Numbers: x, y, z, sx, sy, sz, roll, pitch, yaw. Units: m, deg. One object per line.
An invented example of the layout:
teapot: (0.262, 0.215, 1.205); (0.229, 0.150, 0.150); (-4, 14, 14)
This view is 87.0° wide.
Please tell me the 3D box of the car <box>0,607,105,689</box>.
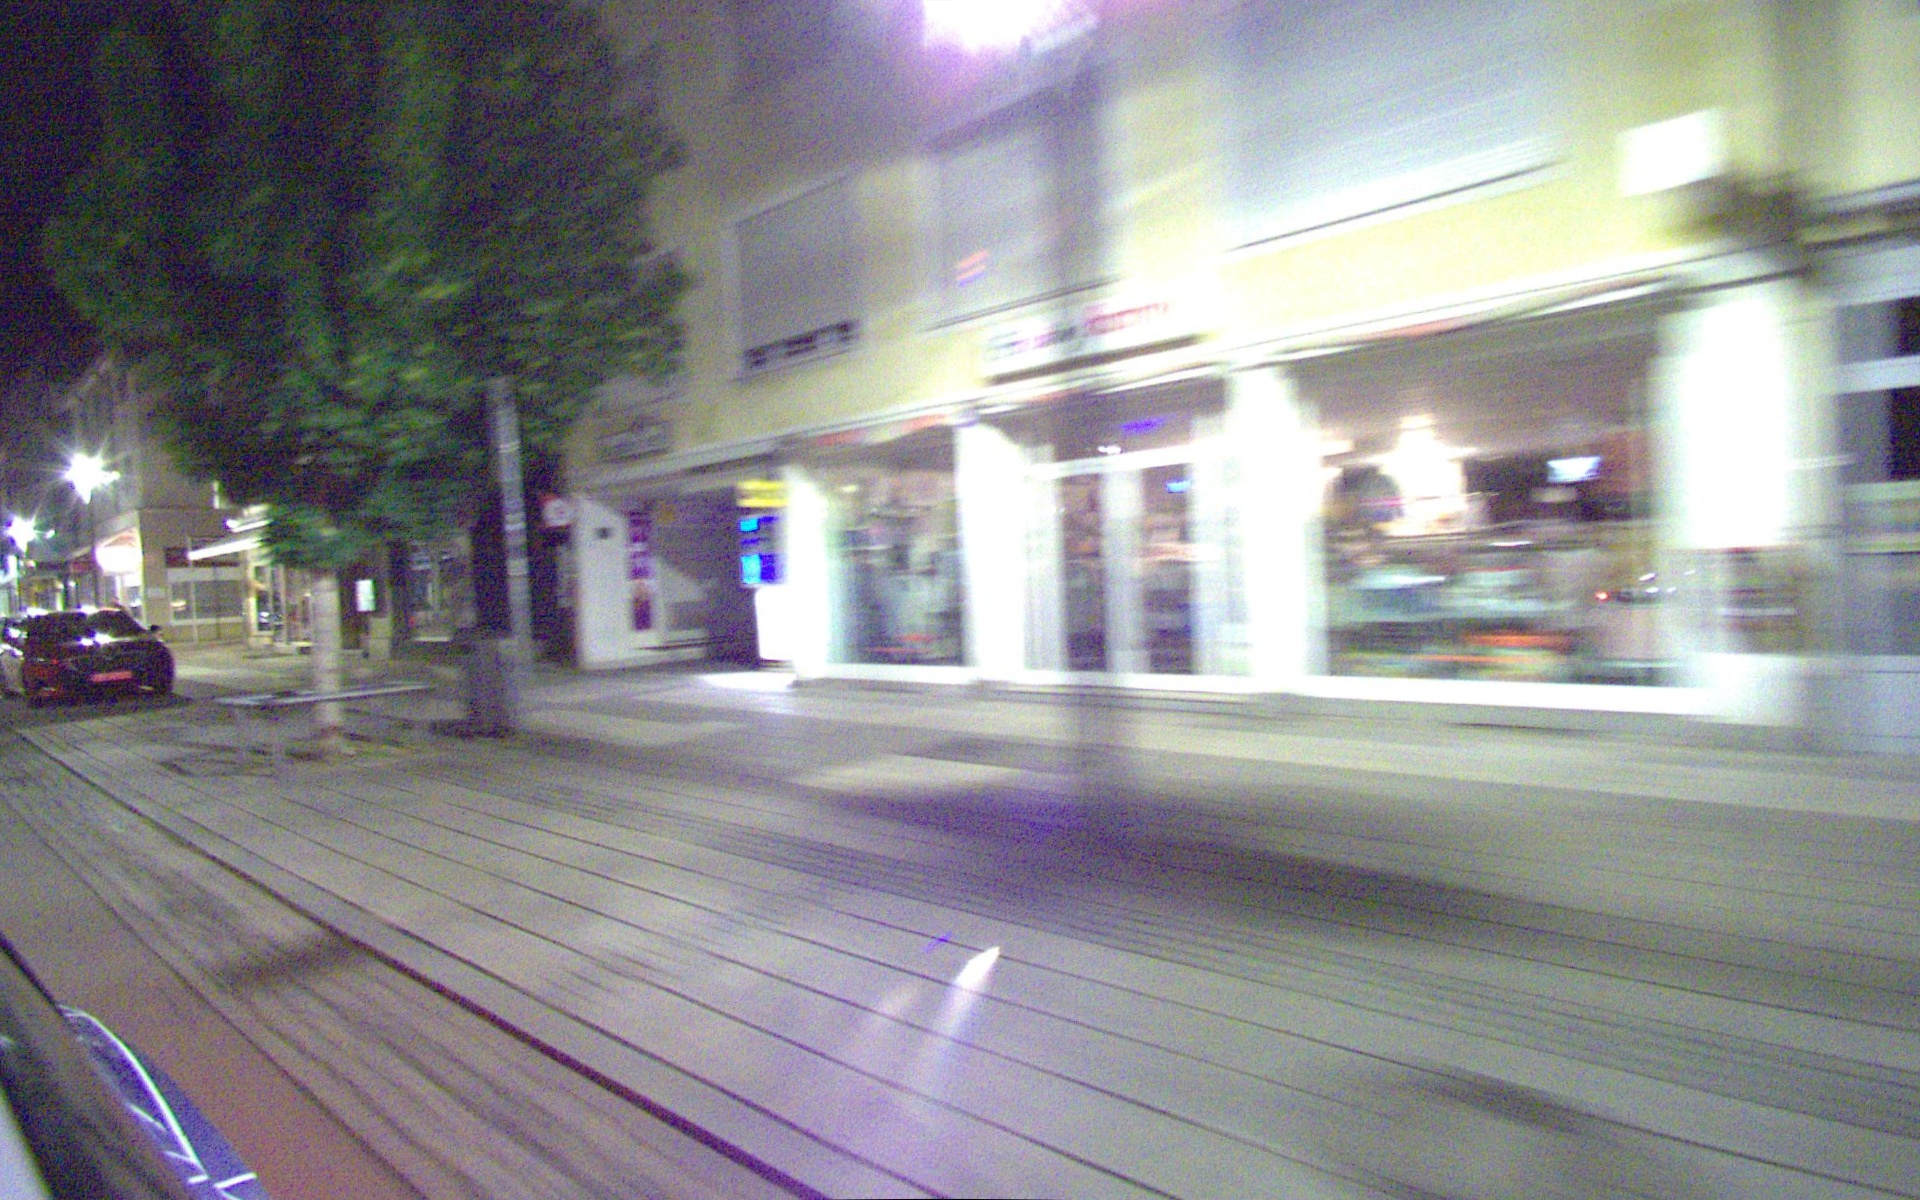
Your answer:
car: (-19.505, 0.964, 21.279); (3.845, 1.487, 1.711); (-1, 2, 41)

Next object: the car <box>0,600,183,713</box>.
car: (-15.332, 0.890, 17.494); (5.005, 1.498, 1.999); (-1, 4, 41)

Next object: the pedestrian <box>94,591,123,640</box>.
pedestrian: (-31.569, 0.580, 37.534); (1.022, 1.758, 0.614); (-1, 2, 42)
